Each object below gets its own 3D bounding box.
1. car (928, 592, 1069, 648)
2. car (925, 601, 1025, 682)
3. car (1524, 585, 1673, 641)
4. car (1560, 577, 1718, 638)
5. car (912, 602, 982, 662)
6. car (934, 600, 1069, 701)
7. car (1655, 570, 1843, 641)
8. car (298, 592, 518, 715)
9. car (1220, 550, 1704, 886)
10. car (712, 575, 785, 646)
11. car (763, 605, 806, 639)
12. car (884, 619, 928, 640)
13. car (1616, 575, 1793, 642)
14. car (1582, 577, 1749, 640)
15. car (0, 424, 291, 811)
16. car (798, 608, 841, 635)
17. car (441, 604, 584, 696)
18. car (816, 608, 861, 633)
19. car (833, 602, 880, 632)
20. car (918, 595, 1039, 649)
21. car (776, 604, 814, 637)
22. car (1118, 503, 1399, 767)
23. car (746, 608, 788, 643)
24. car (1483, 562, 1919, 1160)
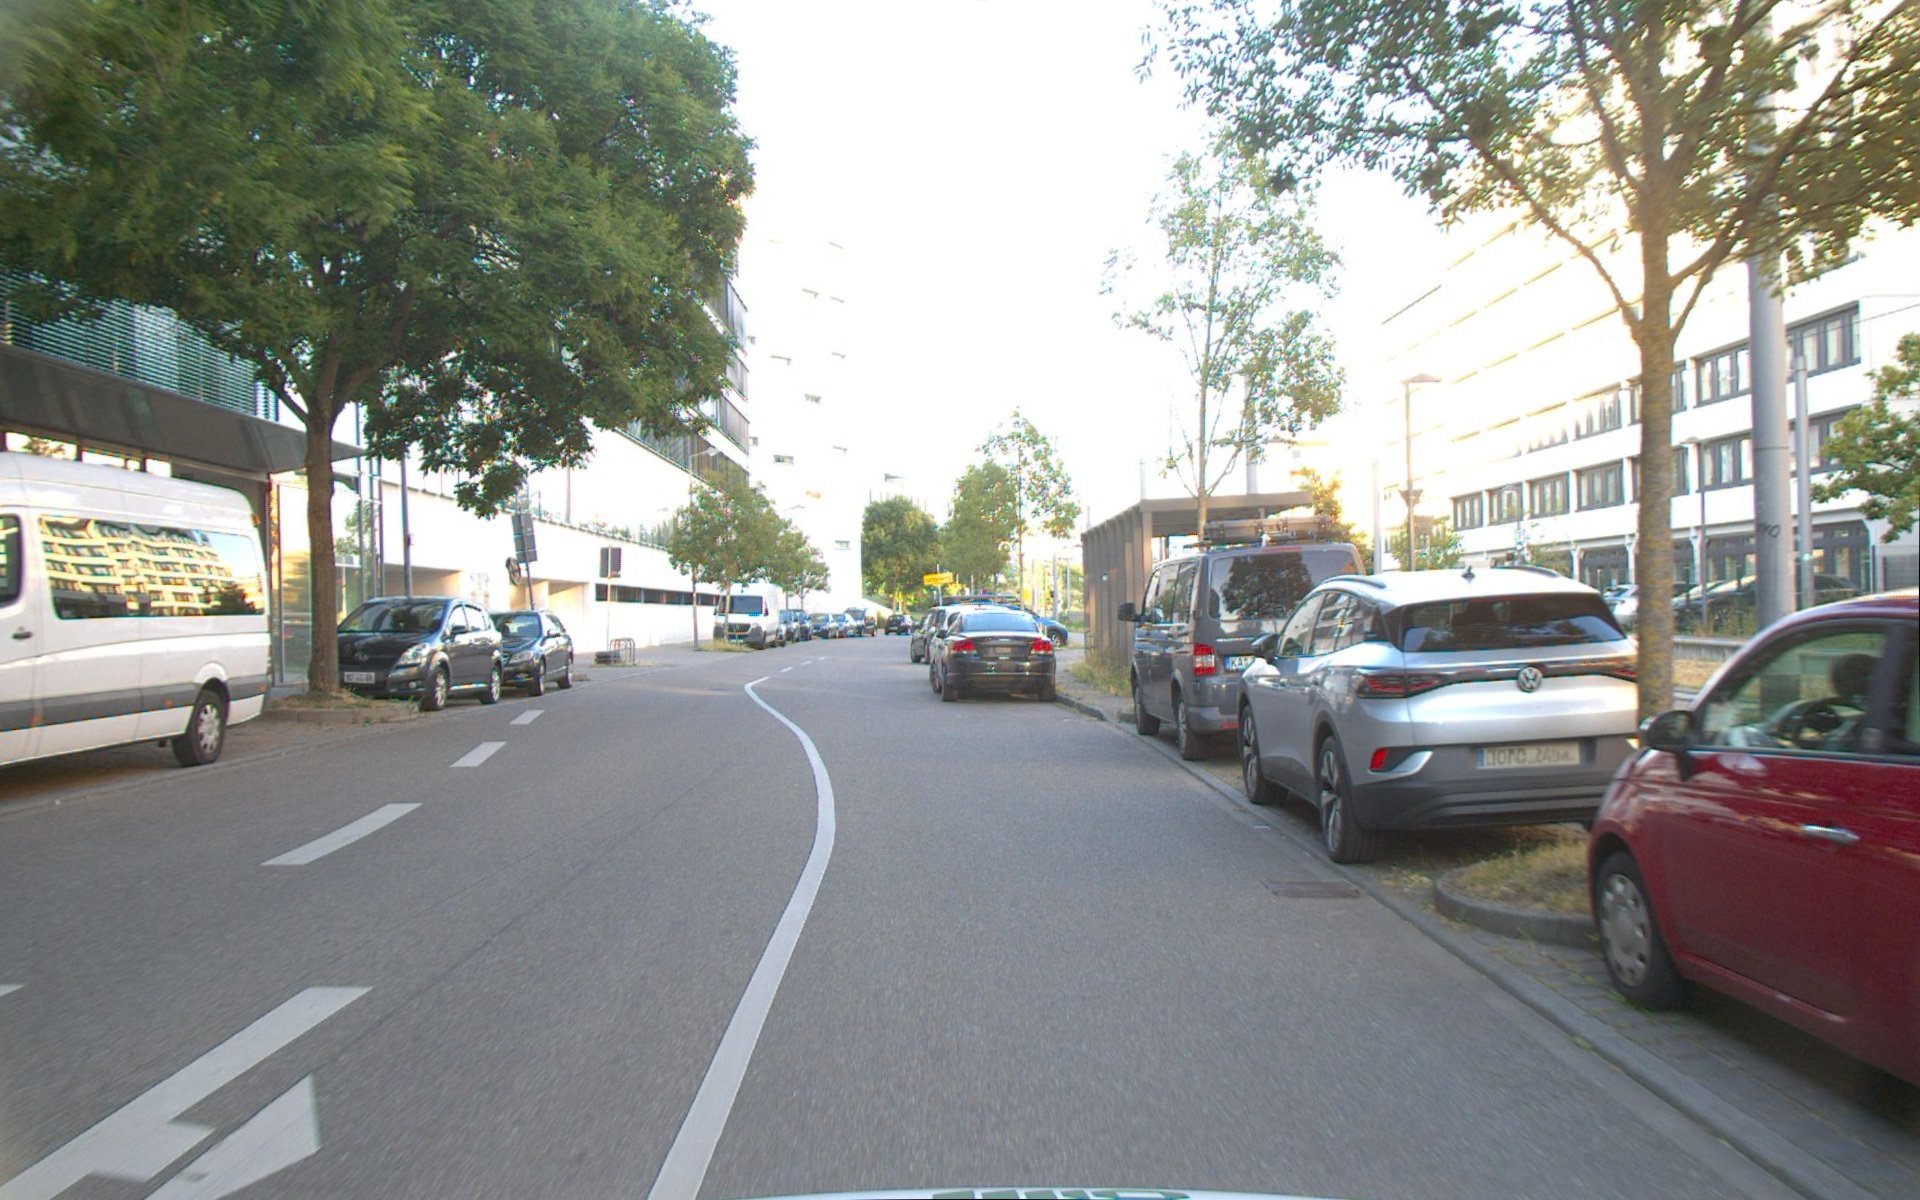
[{"bbox_3d":[1.196,0.608,50.503,3.957,1.547,1.903,-2,-2,-37],"label":"car"},{"bbox_3d":[0.233,0.790,32.737,1.643,1.477,4.184,-1,0,-4],"label":"car"},{"bbox_3d":[19.955,0.399,51.793,3.908,1.539,1.823,-3,0,-3],"label":"car"},{"bbox_3d":[19.992,0.229,48.794,3.906,1.513,1.675,-3,-1,-1],"label":"car"},{"bbox_3d":[-0.401,0.862,44.328,1.696,1.492,3.997,1,-1,-3],"label":"car"},{"bbox_3d":[0.584,0.758,26.821,1.752,1.477,4.511,-1,0,-4],"label":"car"},{"bbox_3d":[19.902,0.149,41.817,3.906,1.513,1.675,-3,-1,-1],"label":"car"},{"bbox_3d":[-7.863,0.711,23.997,1.806,1.599,4.266,-1,0,-1],"label":"car"},{"bbox_3d":[2.884,0.608,10.582,1.672,1.608,4.479,-3,0,0],"label":"car"},{"bbox_3d":[-8.348,0.396,65.890,1.918,2.663,6.892,1,0,0],"label":"car"},{"bbox_3d":[-8.572,1.061,80.982,1.720,1.588,4.042,1,0,-1],"label":"car"},{"bbox_3d":[-3.762,2.060,116.412,1.903,1.407,4.402,1,0,15],"label":"car"},{"bbox_3d":[19.856,0.234,44.221,3.906,1.513,1.675,-3,-1,-1],"label":"car"},{"bbox_3d":[19.827,0.239,46.590,3.906,1.513,1.675,-3,-1,-1],"label":"car"},{"bbox_3d":[-7.782,0.138,13.287,2.058,2.710,6.949,-1,0,-1],"label":"car"},{"bbox_3d":[-8.085,1.212,95.562,1.686,1.483,4.274,1,0,5],"label":"car"},{"bbox_3d":[-7.860,0.823,29.416,1.681,1.477,4.394,-1,0,-5],"label":"car"},{"bbox_3d":[-7.415,1.238,101.165,1.685,1.483,4.697,1,0,9],"label":"car"},{"bbox_3d":[-6.600,1.075,106.265,1.720,1.830,4.466,1,0,14],"label":"car"},{"bbox_3d":[0.751,0.848,64.764,4.550,2.071,1.848,1,0,-35],"label":"car"},{"bbox_3d":[-8.690,1.063,87.377,1.720,1.682,3.947,1,0,-2],"label":"car"},{"bbox_3d":[2.831,0.317,16.812,1.768,2.214,4.734,-3,0,-2],"label":"car"},{"bbox_3d":[-8.403,1.093,72.281,1.722,1.465,3.897,1,0,-6],"label":"car"},{"bbox_3d":[3.221,0.634,5.192,1.673,1.519,4.129,-3,0,-2],"label":"car"}]
